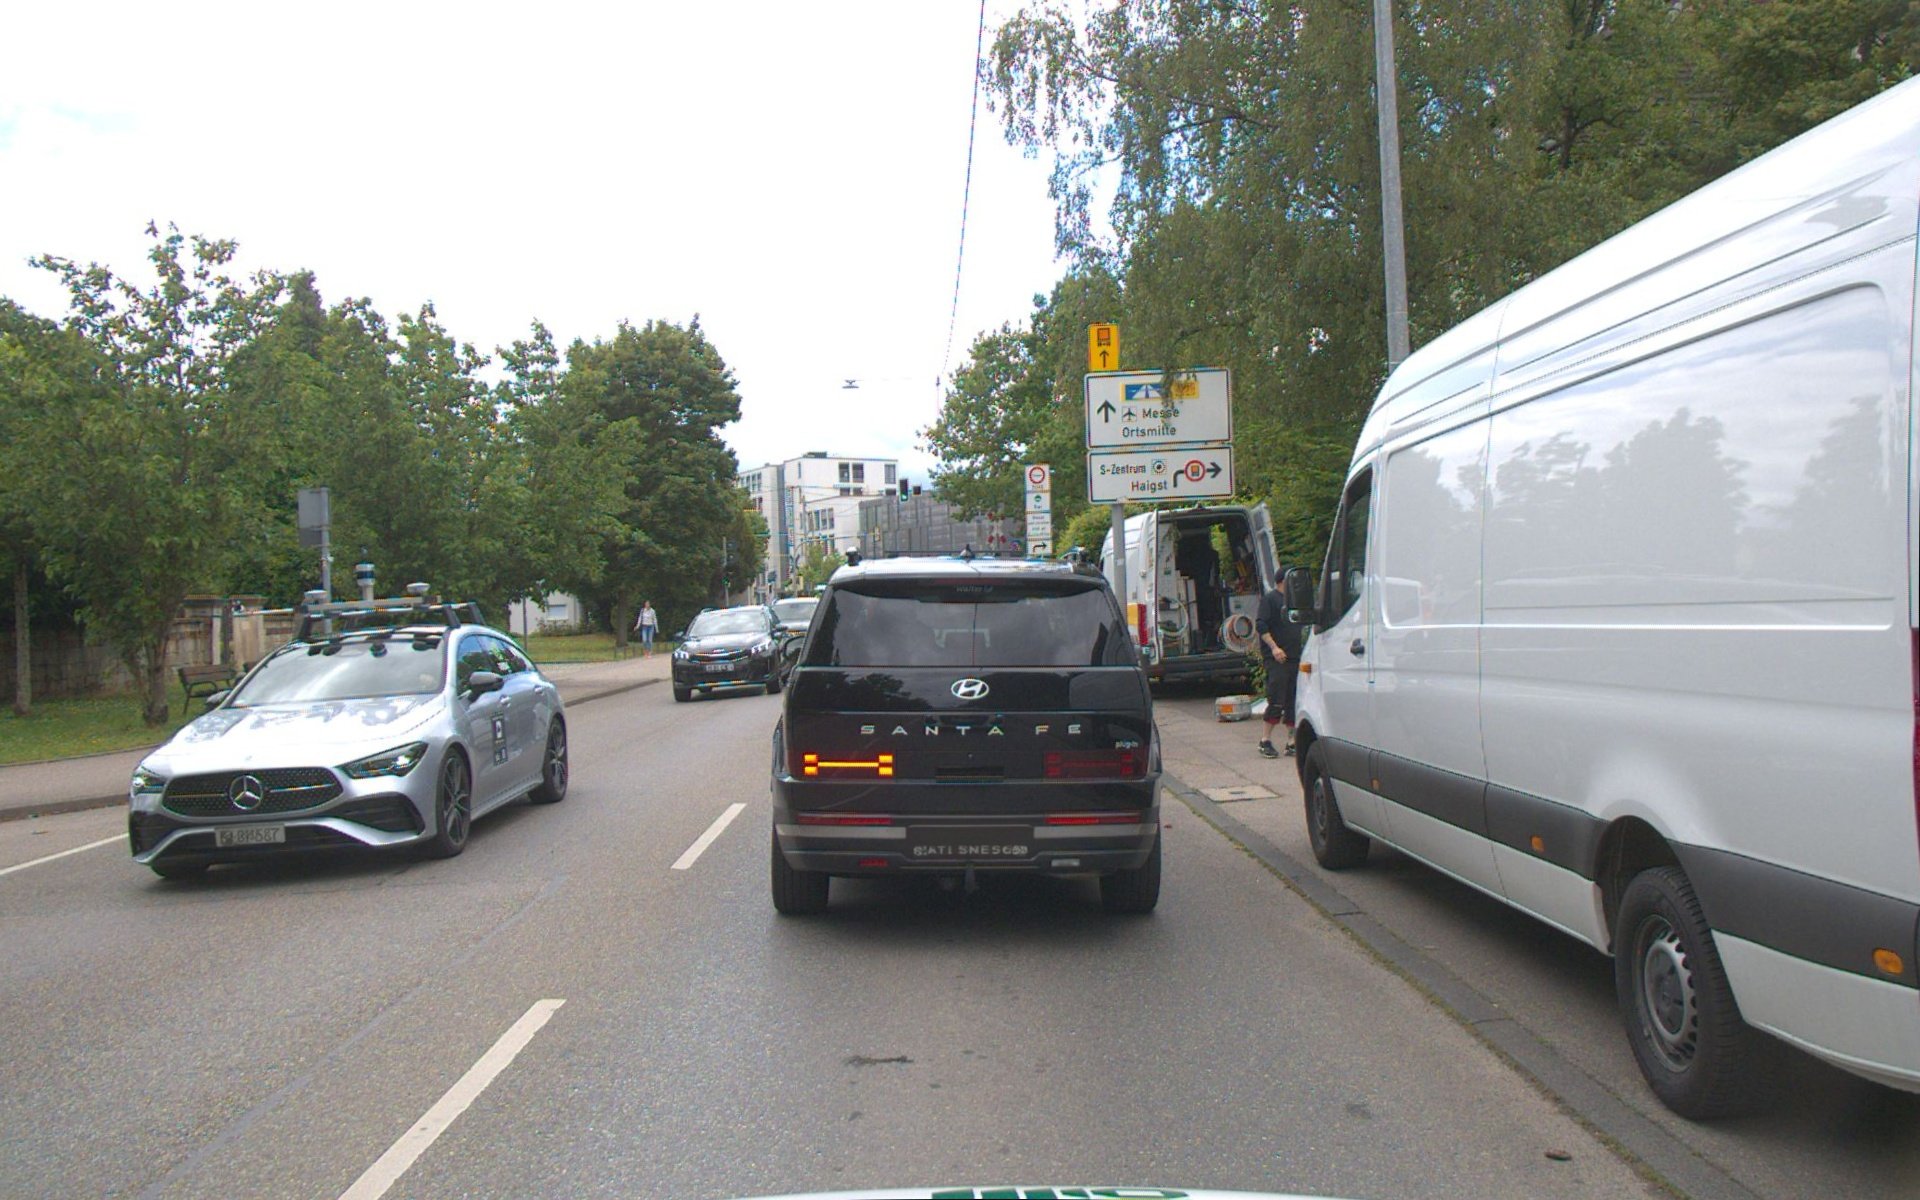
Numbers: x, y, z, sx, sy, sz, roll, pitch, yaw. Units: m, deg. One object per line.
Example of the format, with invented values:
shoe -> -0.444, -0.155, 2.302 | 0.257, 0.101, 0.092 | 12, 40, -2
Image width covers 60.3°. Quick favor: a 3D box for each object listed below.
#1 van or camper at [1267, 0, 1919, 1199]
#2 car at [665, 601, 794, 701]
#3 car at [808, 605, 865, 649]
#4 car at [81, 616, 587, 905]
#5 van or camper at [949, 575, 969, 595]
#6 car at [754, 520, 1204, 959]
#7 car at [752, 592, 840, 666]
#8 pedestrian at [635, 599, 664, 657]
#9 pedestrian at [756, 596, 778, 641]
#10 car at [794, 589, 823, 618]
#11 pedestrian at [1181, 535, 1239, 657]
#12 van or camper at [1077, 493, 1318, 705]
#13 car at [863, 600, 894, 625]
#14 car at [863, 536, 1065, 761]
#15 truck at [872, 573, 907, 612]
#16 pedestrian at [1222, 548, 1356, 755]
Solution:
van or camper -> 2.904, 0.086, 6.364 | 1.951, 2.670, 6.543 | -4, 0, -1
car -> -3.933, 0.831, 28.818 | 1.666, 1.509, 3.999 | -4, 0, -1
car -> -4.605, 1.000, 62.360 | 1.778, 1.443, 4.827 | -5, 0, -1
car -> -3.899, 0.893, 11.196 | 1.721, 1.427, 4.413 | -4, 0, -1
van or camper -> -0.122, -1.563, 171.858 | 1.760, 2.033, 3.820 | 1, 0, -4
car -> 0.057, 0.599, 8.936 | 1.858, 1.807, 3.993 | 1, 0, -1
car -> -4.172, 0.724, 42.611 | 1.842, 1.673, 4.126 | -4, 0, -1
pedestrian -> -9.690, 0.871, 51.610 | 0.751, 1.779, 0.904 | 0, -1, -1
pedestrian -> -8.859, 0.861, 76.065 | 0.812, 2.049, 1.047 | 1, -1, 1
car -> -13.136, 0.319, 143.181 | 2.288, 2.356, 4.950 | -2, 0, -7
pedestrian -> 3.551, -0.052, 23.494 | 0.721, 1.672, 0.802 | -3, -1, 8
van or camper -> 3.305, 0.039, 24.668 | 2.294, 2.537, 6.600 | -5, -1, -2
car -> -5.432, 0.843, 110.613 | 1.800, 1.565, 4.267 | -2, 0, 0
car -> 0.015, 0.466, 17.493 | 1.858, 2.077, 3.993 | 1, 0, -1
truck -> -7.616, -0.748, 177.439 | 3.048, 3.926, 9.607 | -2, 0, -7
pedestrian -> 2.946, 0.457, 14.807 | 0.778, 1.750, 0.748 | -4, 2, 42
